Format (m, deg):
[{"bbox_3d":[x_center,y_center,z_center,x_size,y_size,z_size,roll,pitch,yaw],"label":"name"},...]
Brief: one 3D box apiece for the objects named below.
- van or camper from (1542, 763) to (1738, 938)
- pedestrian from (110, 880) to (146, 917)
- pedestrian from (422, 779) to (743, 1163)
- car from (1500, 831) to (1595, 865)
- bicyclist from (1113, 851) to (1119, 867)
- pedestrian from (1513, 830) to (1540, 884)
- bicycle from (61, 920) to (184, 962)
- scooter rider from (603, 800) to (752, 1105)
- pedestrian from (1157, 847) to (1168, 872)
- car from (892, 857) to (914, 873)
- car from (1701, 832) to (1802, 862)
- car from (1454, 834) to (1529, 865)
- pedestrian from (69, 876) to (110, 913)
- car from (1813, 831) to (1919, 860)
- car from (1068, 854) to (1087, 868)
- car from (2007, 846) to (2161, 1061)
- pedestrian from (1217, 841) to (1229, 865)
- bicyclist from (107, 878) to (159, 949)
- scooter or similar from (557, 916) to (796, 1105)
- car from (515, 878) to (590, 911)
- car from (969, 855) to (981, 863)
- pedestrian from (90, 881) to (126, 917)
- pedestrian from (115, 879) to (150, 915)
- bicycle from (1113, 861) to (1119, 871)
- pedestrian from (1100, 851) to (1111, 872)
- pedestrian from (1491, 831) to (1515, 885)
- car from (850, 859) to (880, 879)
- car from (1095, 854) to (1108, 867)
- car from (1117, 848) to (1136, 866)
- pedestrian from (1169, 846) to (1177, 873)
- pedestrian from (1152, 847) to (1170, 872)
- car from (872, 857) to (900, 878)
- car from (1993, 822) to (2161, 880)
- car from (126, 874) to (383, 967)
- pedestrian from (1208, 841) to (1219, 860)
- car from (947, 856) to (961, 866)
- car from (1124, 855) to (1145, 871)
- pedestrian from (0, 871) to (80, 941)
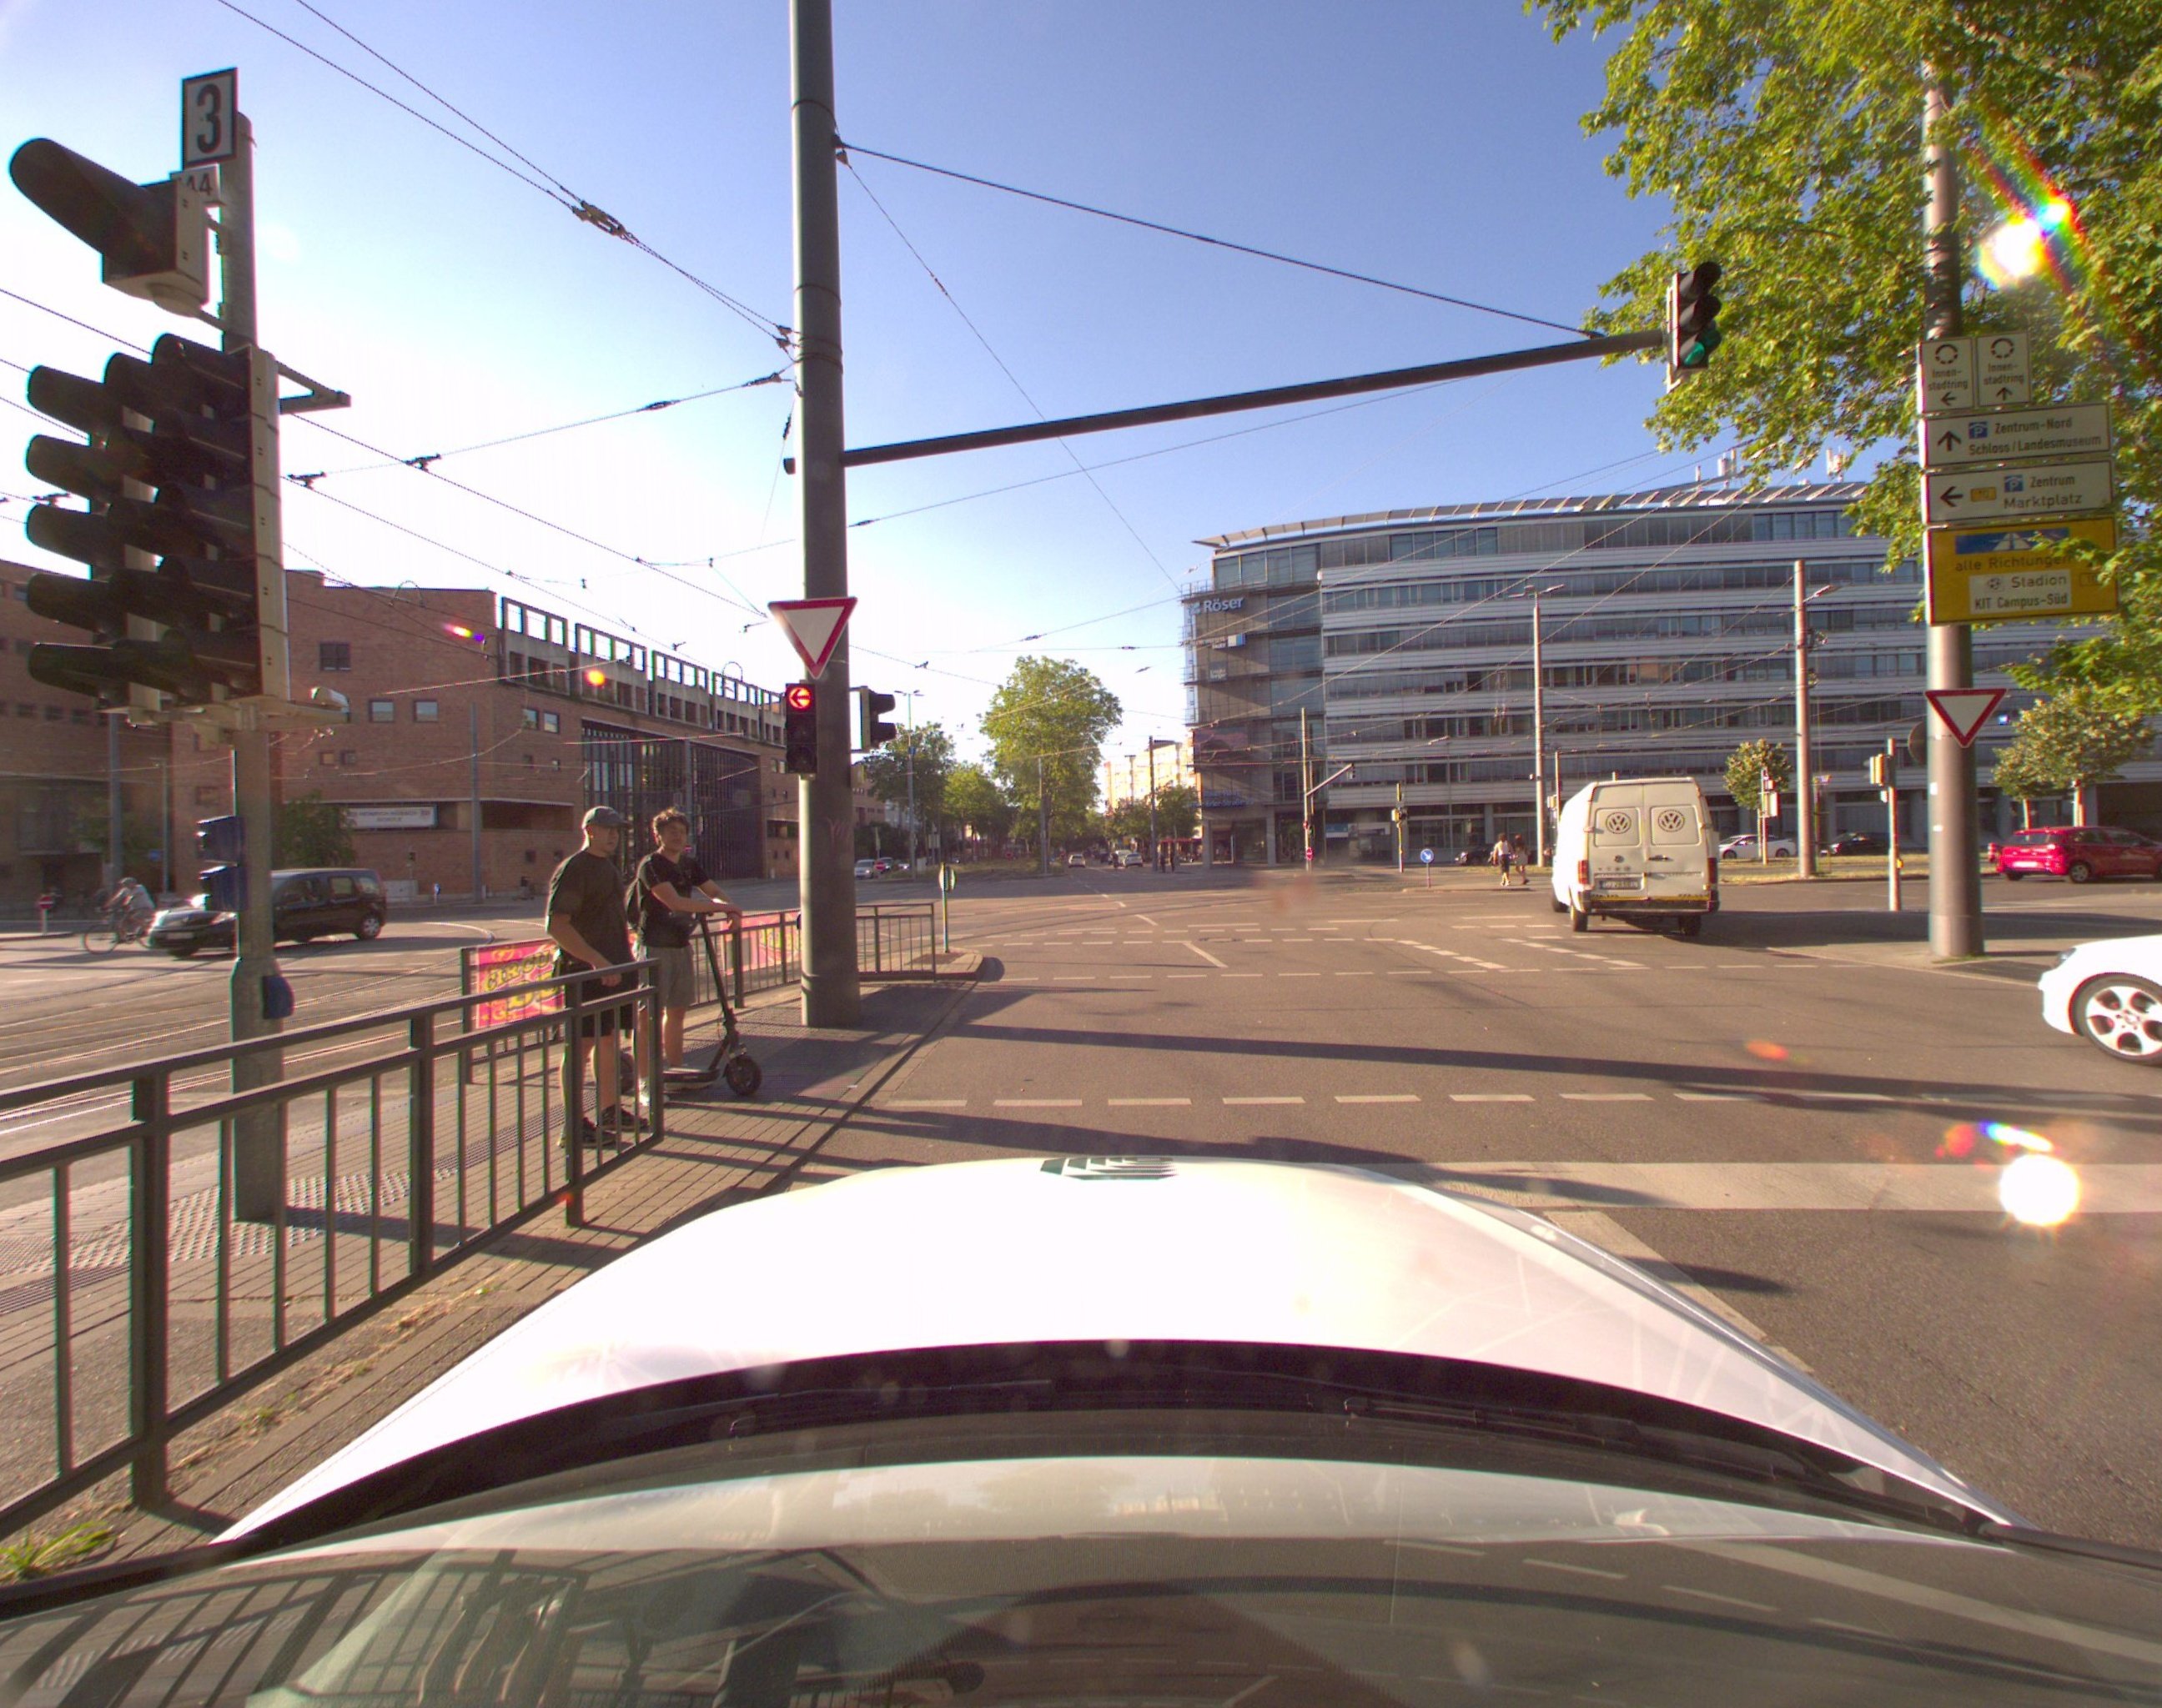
[{"bbox_3d":[10.277,-0.070,15.565,1.981,2.614,6.536,-2,0,25],"label":"van or camper"},{"bbox_3d":[-55.805,2.605,47.688,1.003,2.052,0.850,-2,0,-1],"label":"pedestrian"},{"bbox_3d":[-2.678,0.595,4.489,1.161,1.884,0.856,-2,0,6],"label":"pedestrian"},{"bbox_3d":[26.523,-0.329,46.418,4.234,1.723,1.886,-2,0,4],"label":"car"},{"bbox_3d":[3.085,0.454,72.103,0.485,1.439,0.616,-1,-1,1],"label":"bicyclist"},{"bbox_3d":[14.960,0.093,27.367,0.677,1.759,0.746,-2,0,25],"label":"pedestrian"},{"bbox_3d":[-22.508,2.021,19.183,0.588,0.771,1.966,-2,0,-2],"label":"bicycle"},{"bbox_3d":[-2.621,0.610,5.338,0.563,1.853,0.681,-2,-2,6],"label":"scooter rider"},{"bbox_3d":[6.441,0.445,64.325,0.846,2.014,0.708,0,-1,1],"label":"pedestrian"},{"bbox_3d":[-18.234,1.126,83.649,1.673,1.607,3.994,0,-1,-4],"label":"car"},{"bbox_3d":[37.243,-0.396,45.313,3.968,1.596,1.884,0,-1,5],"label":"car"},{"bbox_3d":[27.138,-0.294,53.950,3.972,2.014,2.001,0,-1,2],"label":"car"},{"bbox_3d":[-56.677,2.285,46.569,1.155,2.013,0.910,-2,0,-2],"label":"pedestrian"},{"bbox_3d":[44.798,-0.487,46.573,4.097,1.596,1.884,0,-1,5],"label":"car"},{"bbox_3d":[-0.366,0.778,88.458,1.740,1.418,4.004,-1,0,4],"label":"car"},{"bbox_3d":[7.995,0.658,4.362,1.628,1.428,3.988,-1,0,2],"label":"car"},{"bbox_3d":[12.333,-0.070,70.860,0.866,2.014,0.794,0,-2,1],"label":"pedestrian"},{"bbox_3d":[-22.536,1.400,19.365,0.585,1.625,0.514,-2,0,-3],"label":"bicyclist"},{"bbox_3d":[-2.602,0.992,5.319,1.196,1.081,0.649,-2,0,5],"label":"scooter or similar"},{"bbox_3d":[-36.579,2.782,56.520,1.982,2.013,4.202,-3,0,8],"label":"car"},{"bbox_3d":[-23.357,1.088,179.195,1.837,1.783,4.002,-2,0,2],"label":"car"},{"bbox_3d":[-57.015,2.627,47.732,1.003,2.052,0.850,-2,0,-1],"label":"pedestrian"},{"bbox_3d":[-56.976,2.563,48.923,1.003,2.052,0.850,-2,0,-1],"label":"pedestrian"},{"bbox_3d":[3.113,1.058,72.373,0.489,0.788,1.862,-1,0,2],"label":"bicycle"},{"bbox_3d":[1.957,0.596,65.464,0.866,1.707,0.794,0,-1,1],"label":"pedestrian"},{"bbox_3d":[14.258,0.130,27.523,0.671,1.759,0.746,-2,0,27],"label":"pedestrian"},{"bbox_3d":[-17.987,1.216,67.857,1.618,1.577,3.994,-2,0,-4],"label":"car"},{"bbox_3d":[3.271,1.045,126.760,1.986,2.014,4.001,0,-1,2],"label":"car"},{"bbox_3d":[4.950,0.337,89.771,1.986,2.014,4.001,0,-1,2],"label":"car"},{"bbox_3d":[7.111,0.413,62.771,0.584,2.014,0.620,0,-1,2],"label":"pedestrian"},{"bbox_3d":[6.521,0.426,66.112,1.337,1.950,1.011,-2,-1,1],"label":"pedestrian"},{"bbox_3d":[-18.090,1.250,75.586,1.819,1.790,3.994,-2,0,-4],"label":"car"},{"bbox_3d":[27.092,-0.089,21.835,3.572,1.459,1.495,-1,0,1],"label":"car"},{"bbox_3d":[-18.506,1.399,18.562,1.863,1.762,3.996,0,0,-3],"label":"car"},{"bbox_3d":[16.024,-0.410,98.615,1.305,2.190,1.173,-1,-1,8],"label":"pedestrian"},{"bbox_3d":[-25.041,1.322,160.739,1.903,1.783,4.002,-2,0,2],"label":"car"},{"bbox_3d":[5.412,0.921,82.818,2.022,1.596,4.001,0,-1,2],"label":"car"},{"bbox_3d":[-31.211,1.537,24.343,1.029,2.014,1.208,0,-1,1],"label":"pedestrian"}]
